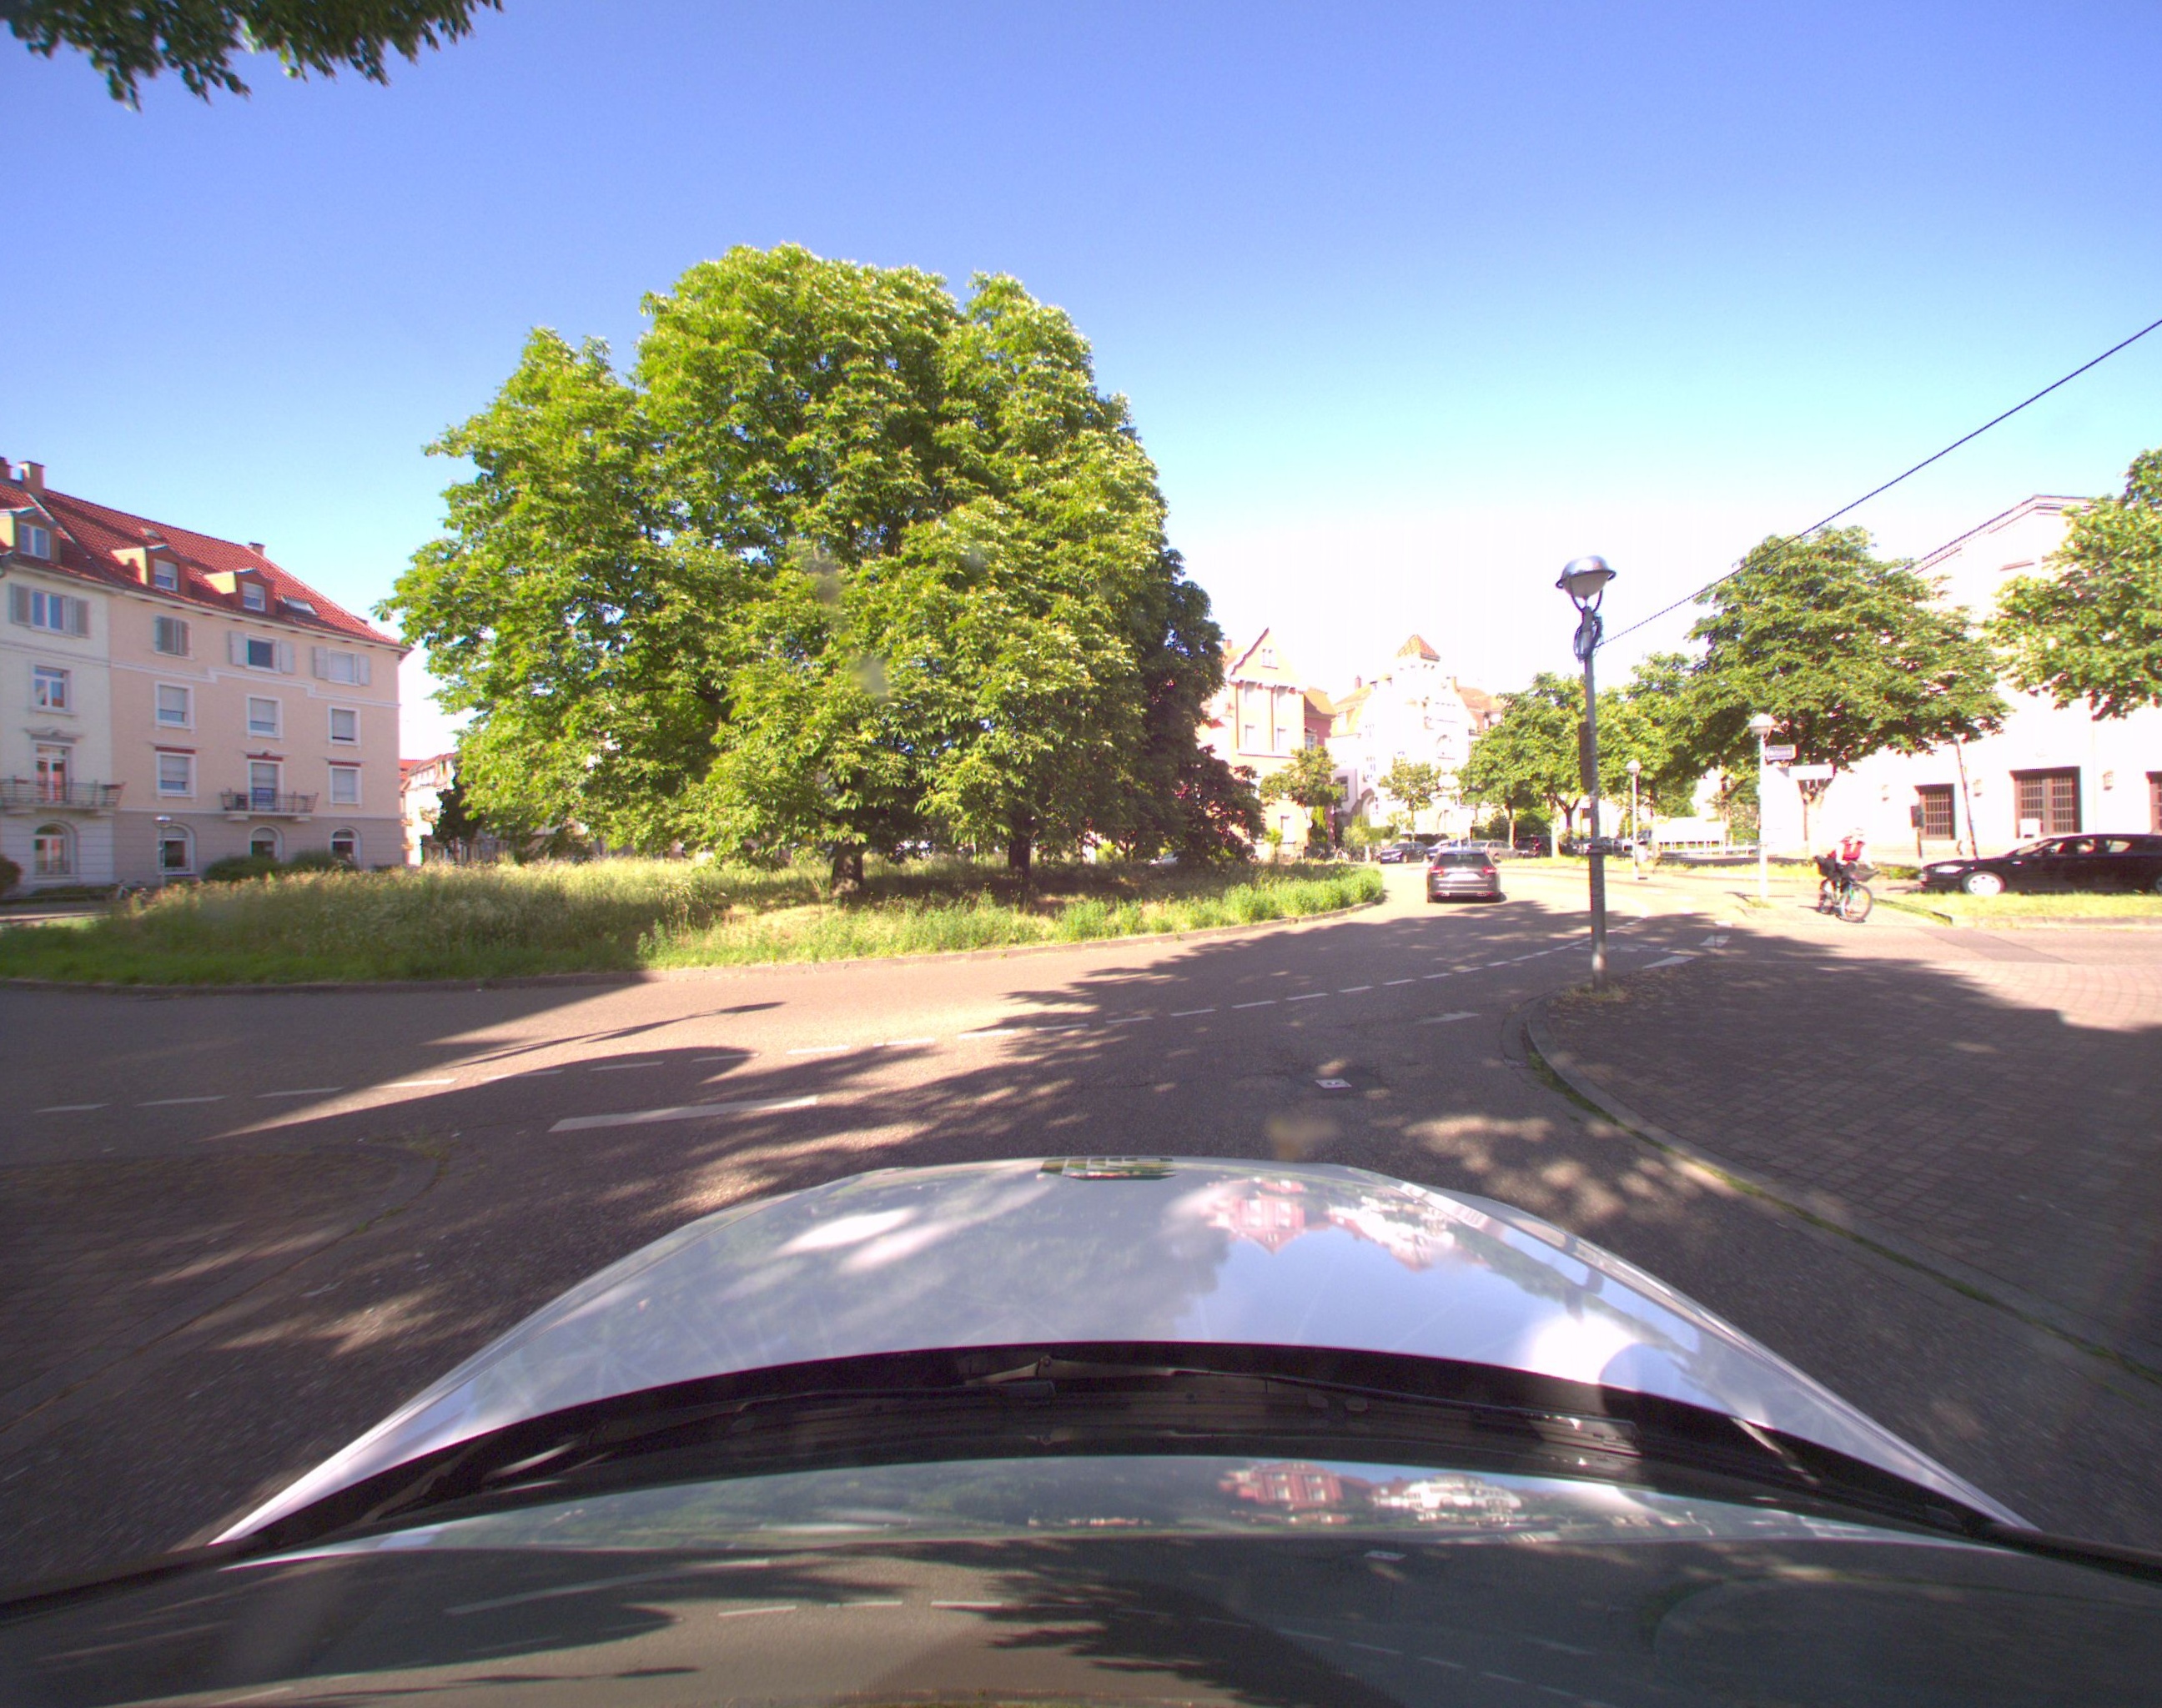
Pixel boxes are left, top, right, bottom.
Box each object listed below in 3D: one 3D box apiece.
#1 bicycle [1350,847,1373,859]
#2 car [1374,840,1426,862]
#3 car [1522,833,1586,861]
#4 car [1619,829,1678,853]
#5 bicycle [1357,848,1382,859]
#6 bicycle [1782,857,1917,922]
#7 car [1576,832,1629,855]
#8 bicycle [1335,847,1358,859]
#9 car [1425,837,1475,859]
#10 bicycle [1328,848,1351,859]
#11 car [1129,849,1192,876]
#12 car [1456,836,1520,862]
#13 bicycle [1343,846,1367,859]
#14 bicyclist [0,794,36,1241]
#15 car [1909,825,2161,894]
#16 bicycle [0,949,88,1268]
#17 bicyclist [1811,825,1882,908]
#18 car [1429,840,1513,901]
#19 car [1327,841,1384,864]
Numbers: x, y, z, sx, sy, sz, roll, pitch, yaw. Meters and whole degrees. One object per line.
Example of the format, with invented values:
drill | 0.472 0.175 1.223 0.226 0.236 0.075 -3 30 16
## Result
bicycle | 20.494 -0.051 59.590 0.478 0.822 2.277 -2 0 -12
car | 22.218 -0.222 56.699 3.662 1.369 1.740 -2 0 -38
car | 26.956 -0.413 46.350 3.751 1.455 1.544 -2 0 -32
car | 37.451 -0.844 53.718 3.797 1.455 1.778 -2 0 -32
bicycle | 21.161 -0.037 59.793 0.624 0.786 2.277 -2 0 -12
bicycle | 13.460 0.584 14.346 0.506 1.036 1.873 -2 0 -4
car | 35.882 -0.723 56.048 3.468 1.436 1.645 -2 0 -30
bicycle | 19.128 -0.064 58.635 0.478 0.800 2.277 -2 0 -12
car | 27.045 -0.446 59.694 3.489 1.488 1.654 -2 0 -33
bicycle | 18.521 -0.035 58.336 0.479 0.800 2.017 -2 0 -17
car | 4.816 0.517 49.540 1.569 1.552 3.601 -2 0 -44
car | 24.381 -0.290 48.704 3.991 1.455 1.544 -2 0 -32
bicycle | 19.746 -0.076 58.730 0.478 0.914 2.277 -2 0 -12
bicyclist | -4.699 0.663 2.885 0.887 1.784 0.795 -2 0 -14
car | 21.181 0.129 17.845 3.948 1.387 1.753 -2 0 32
bicycle | -4.975 0.988 2.790 1.961 1.144 0.662 -2 0 -14
bicyclist | 13.457 0.213 14.331 0.507 1.416 0.741 -2 0 0
car | 10.917 0.413 22.650 1.698 1.483 4.171 -2 0 31
car | 18.082 -0.125 53.616 3.660 1.369 1.741 -2 0 -36
